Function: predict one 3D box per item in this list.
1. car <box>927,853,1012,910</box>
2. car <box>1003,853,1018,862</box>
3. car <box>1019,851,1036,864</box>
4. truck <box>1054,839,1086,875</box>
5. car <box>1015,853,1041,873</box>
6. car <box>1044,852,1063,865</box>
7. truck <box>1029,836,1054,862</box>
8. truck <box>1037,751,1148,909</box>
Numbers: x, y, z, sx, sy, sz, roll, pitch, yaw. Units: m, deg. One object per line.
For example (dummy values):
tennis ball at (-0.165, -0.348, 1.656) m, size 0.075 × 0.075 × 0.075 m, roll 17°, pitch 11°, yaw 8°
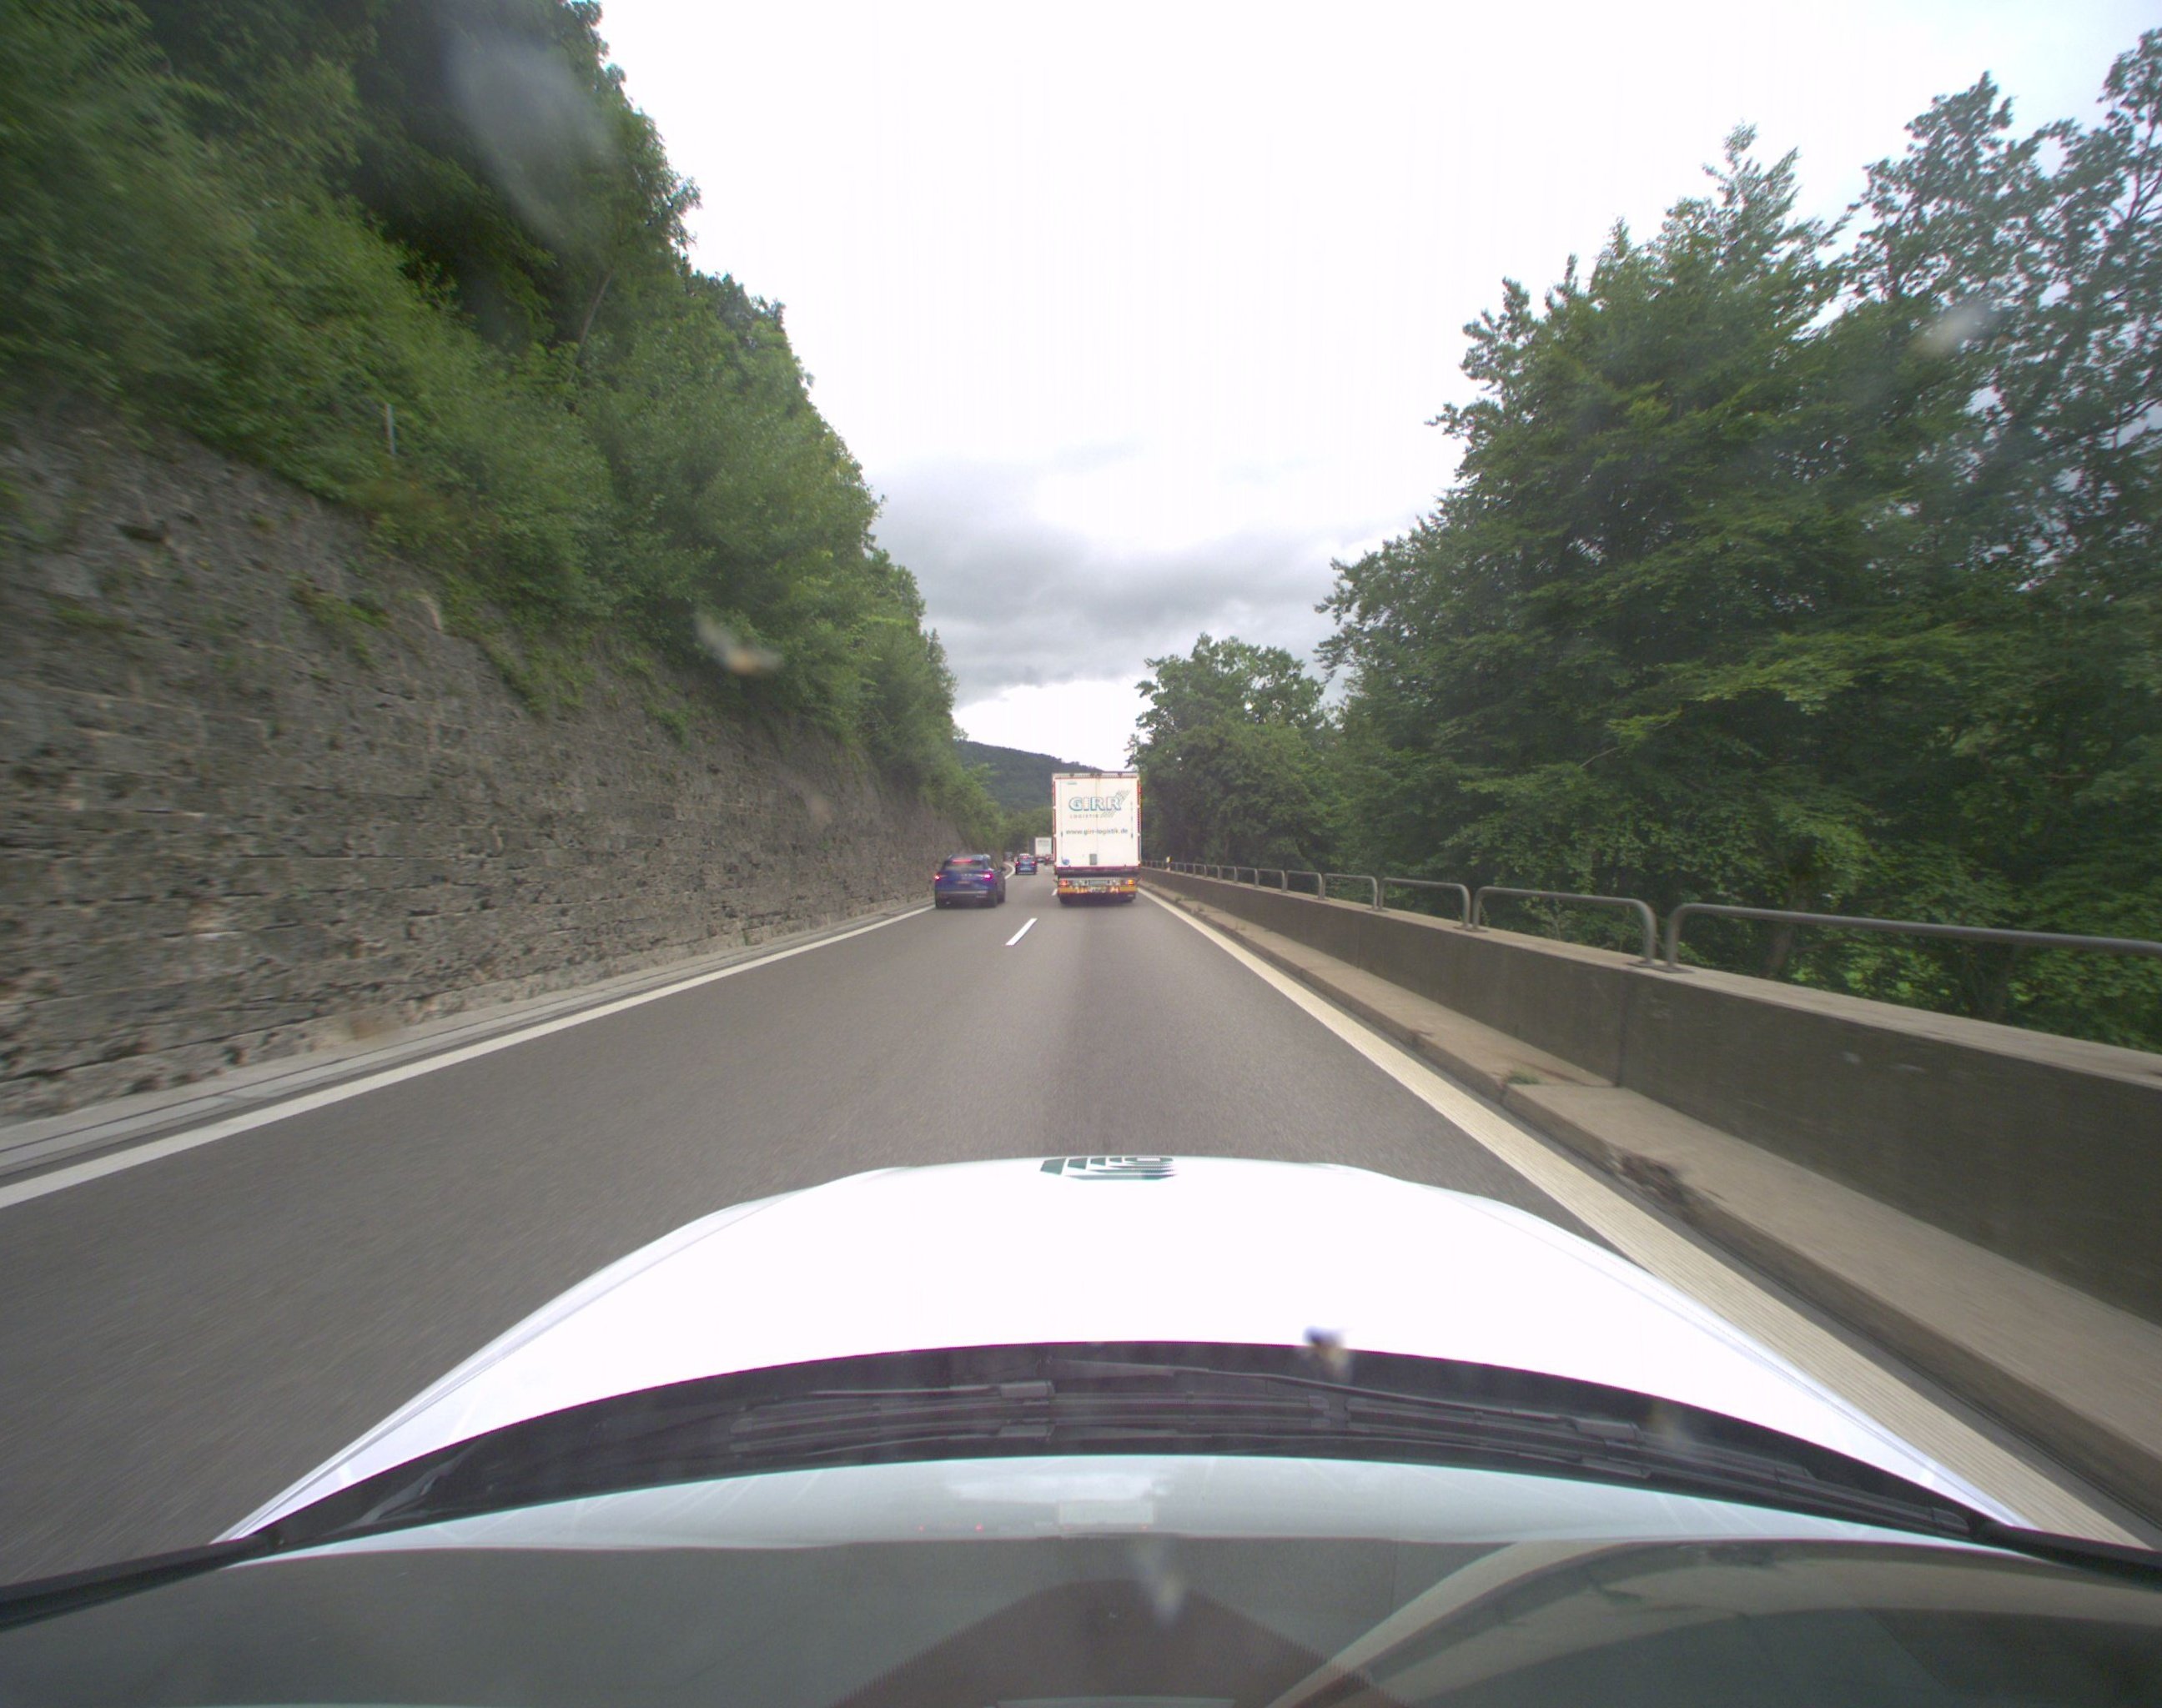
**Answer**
car at (-3.449, 0.797, 26.051) m, size 1.987 × 1.632 × 5.008 m, roll 0°, pitch 0°, yaw 0°
car at (-12.255, 0.555, 141.231) m, size 1.900 × 1.550 × 4.228 m, roll 0°, pitch 0°, yaw -15°
car at (-6.807, 0.420, 103.340) m, size 1.895 × 1.550 × 4.239 m, roll 0°, pitch 0°, yaw -7°
truck at (-0.982, 0.241, 68.750) m, size 2.206 × 2.851 × 4.994 m, roll -1°, pitch 0°, yaw -6°
car at (-4.236, 0.697, 64.976) m, size 1.989 × 1.596 × 4.348 m, roll 0°, pitch 0°, yaw -3°
car at (-3.677, 0.546, 107.038) m, size 2.059 × 1.654 × 3.990 m, roll -2°, pitch 0°, yaw -7°
truck at (-6.346, -0.838, 129.158) m, size 2.633 × 3.857 × 12.324 m, roll -2°, pitch 0°, yaw -8°
truck at (0.435, -0.731, 30.989) m, size 3.074 × 4.464 × 15.157 m, roll -1°, pitch 0°, yaw 1°
